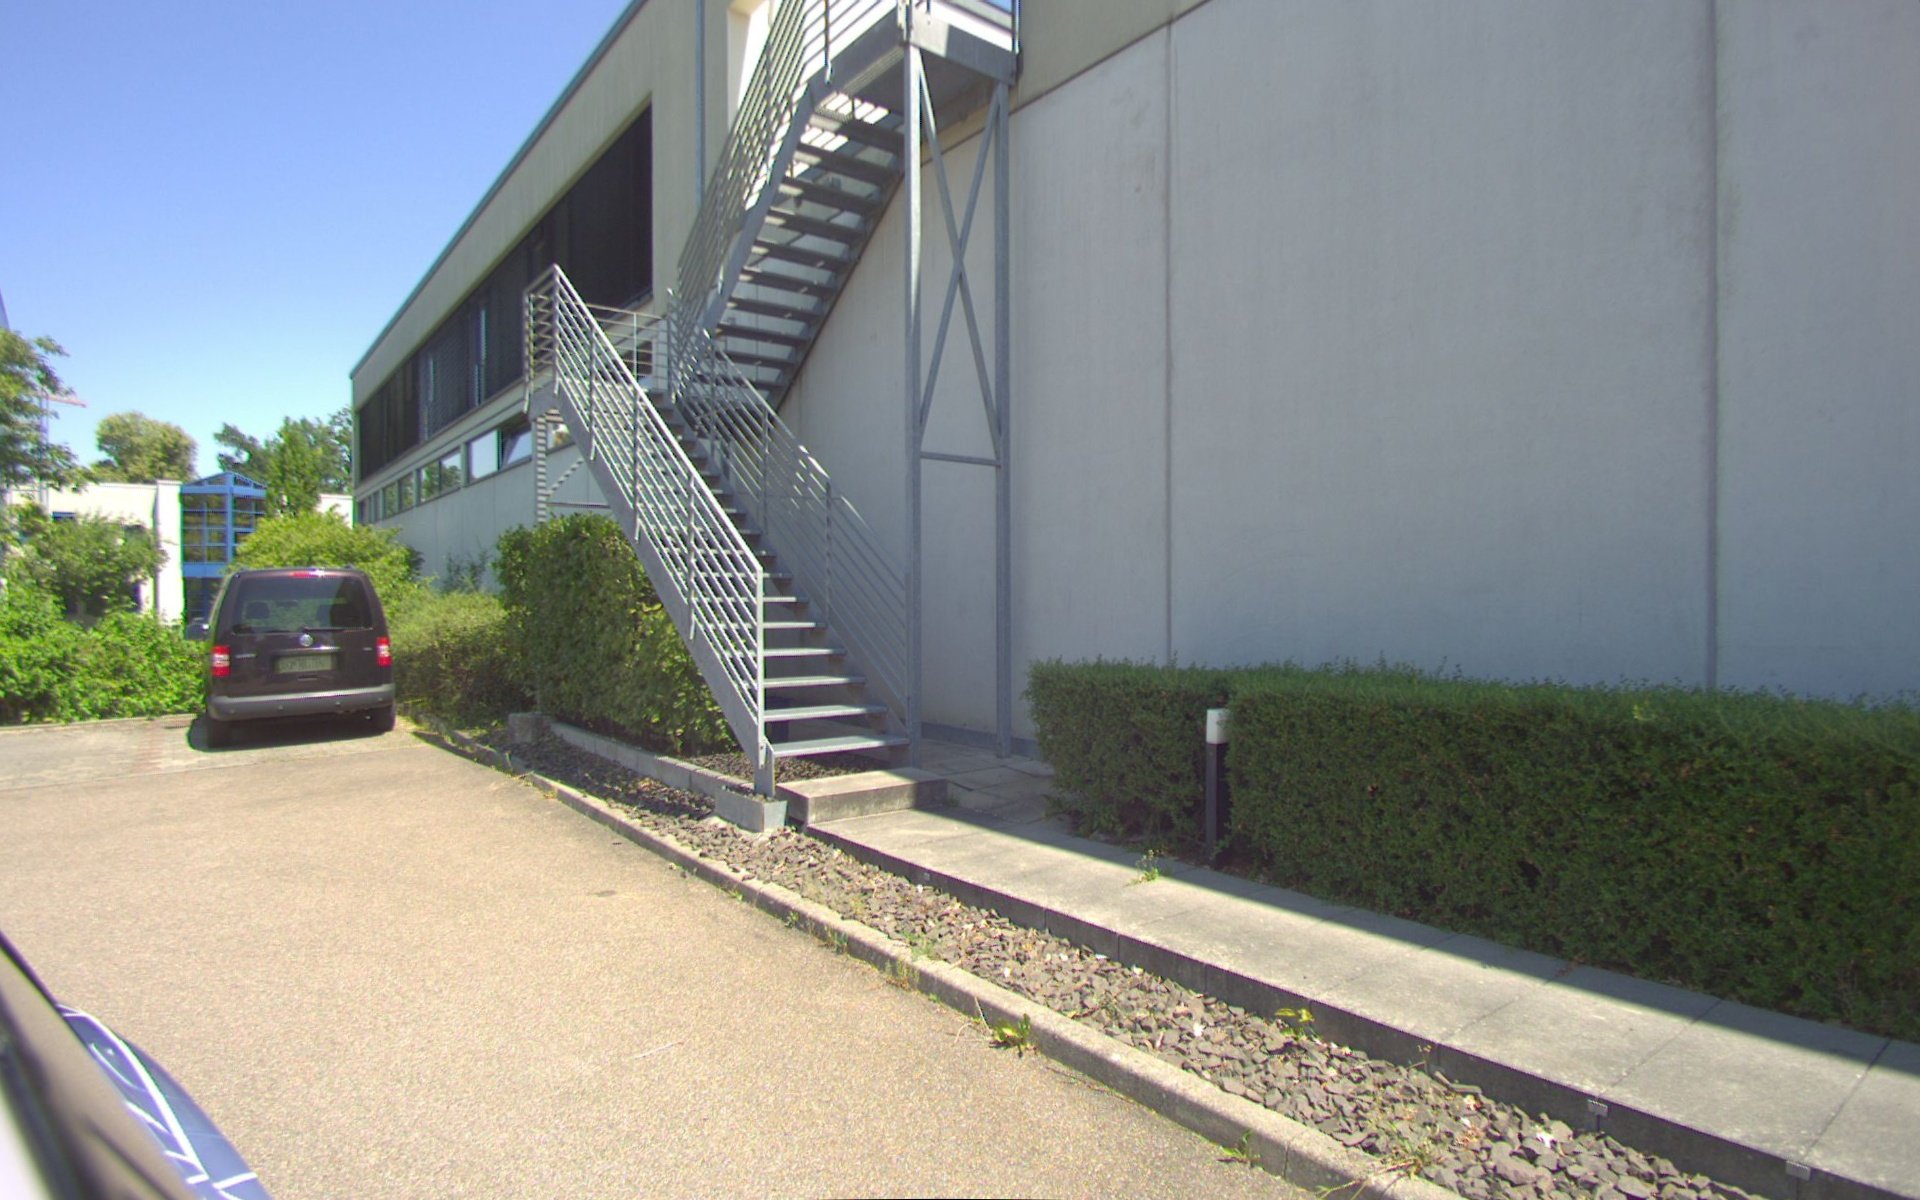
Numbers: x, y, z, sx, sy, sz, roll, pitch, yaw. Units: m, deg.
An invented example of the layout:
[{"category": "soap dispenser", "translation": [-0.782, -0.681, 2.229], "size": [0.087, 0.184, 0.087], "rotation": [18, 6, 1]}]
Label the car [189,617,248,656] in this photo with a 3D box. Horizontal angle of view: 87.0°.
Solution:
[{"category": "car", "translation": [-33.795, 1.623, 46.066], "size": [1.809, 1.579, 4.006], "rotation": [-1, 1, -41]}]

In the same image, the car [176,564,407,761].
[{"category": "car", "translation": [-7.972, 0.585, 11.889], "size": [1.839, 1.874, 4.237], "rotation": [-2, 1, -39]}]
